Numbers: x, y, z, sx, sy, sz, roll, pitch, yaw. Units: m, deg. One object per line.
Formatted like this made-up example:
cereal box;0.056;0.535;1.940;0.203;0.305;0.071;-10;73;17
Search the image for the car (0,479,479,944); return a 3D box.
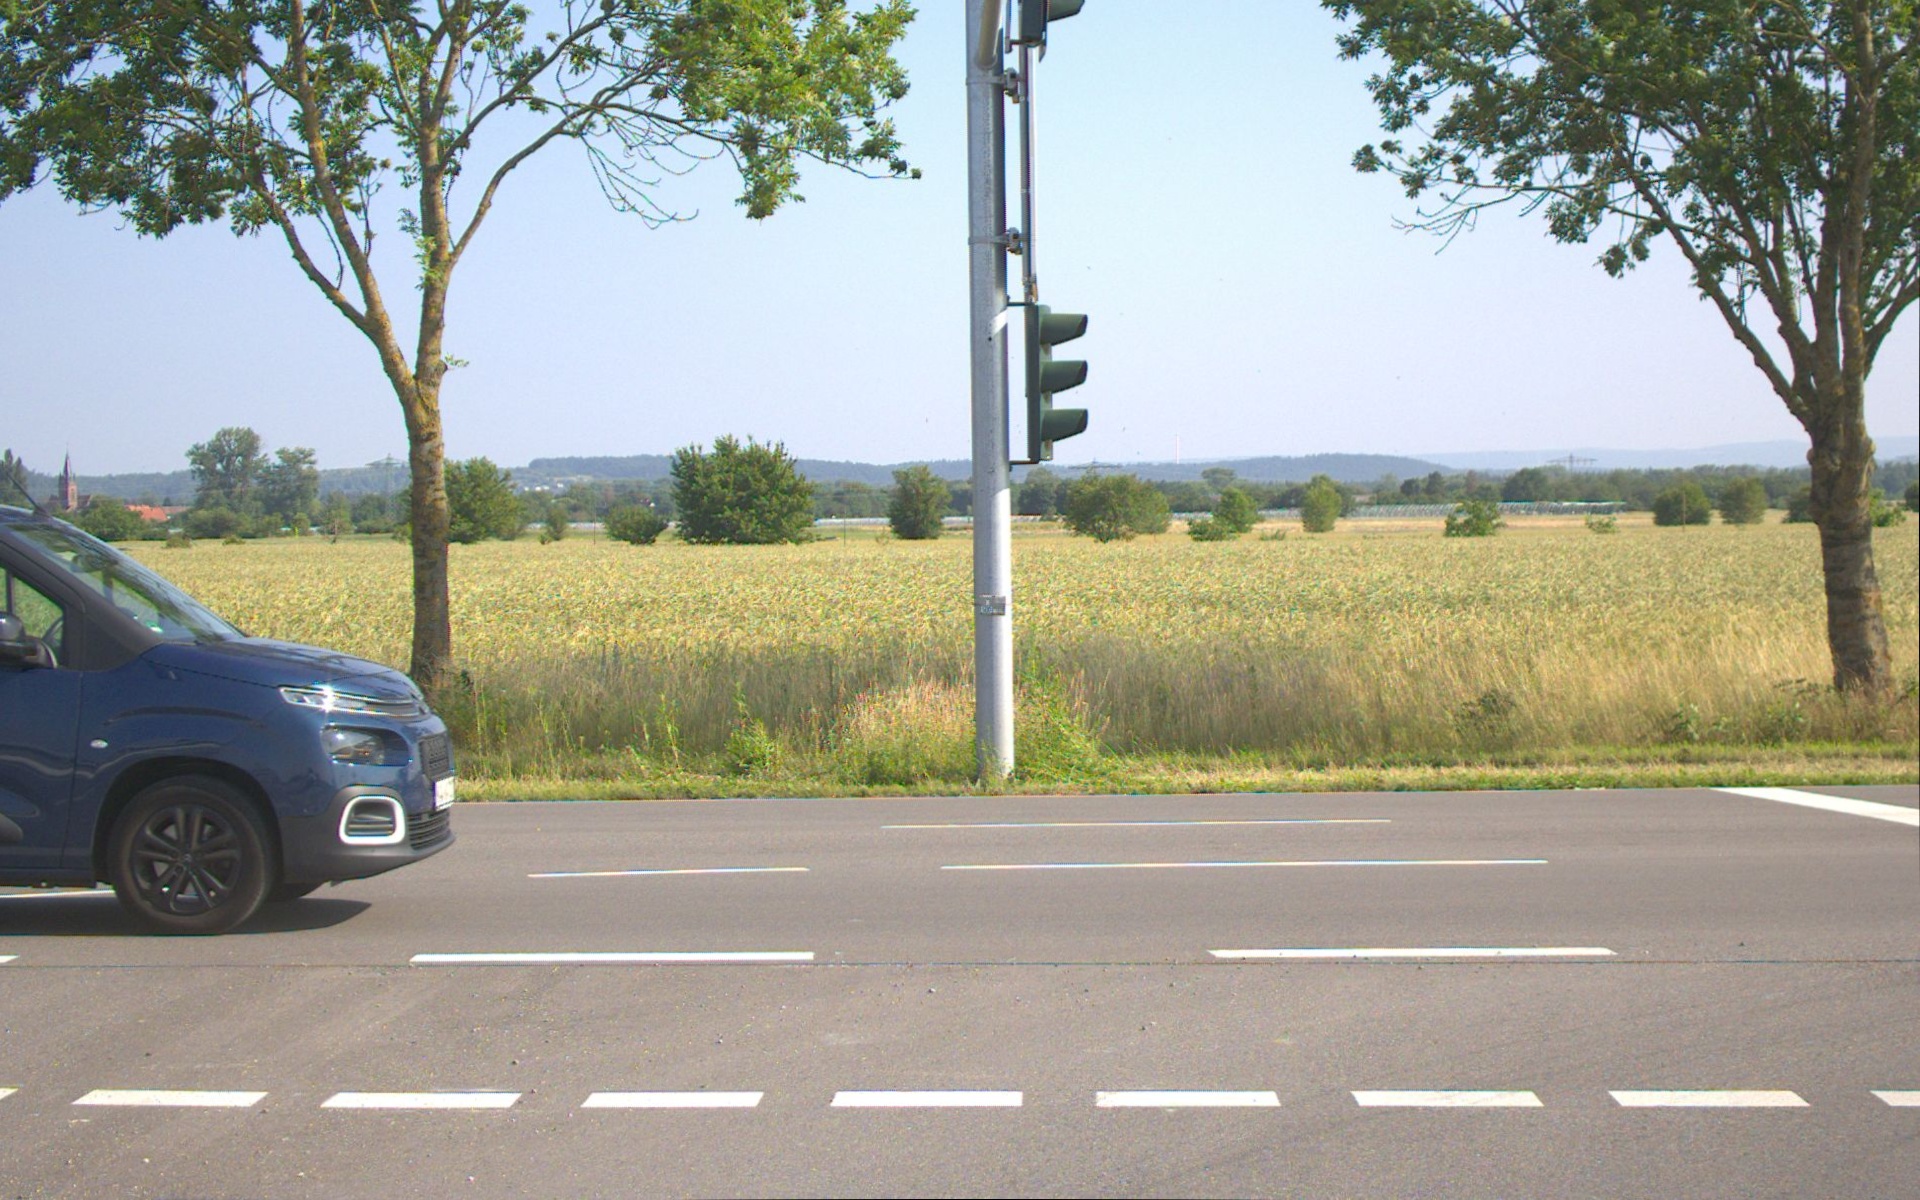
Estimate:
car;-4.397;0.445;14.513;4.453;1.827;1.846;0;0;1
